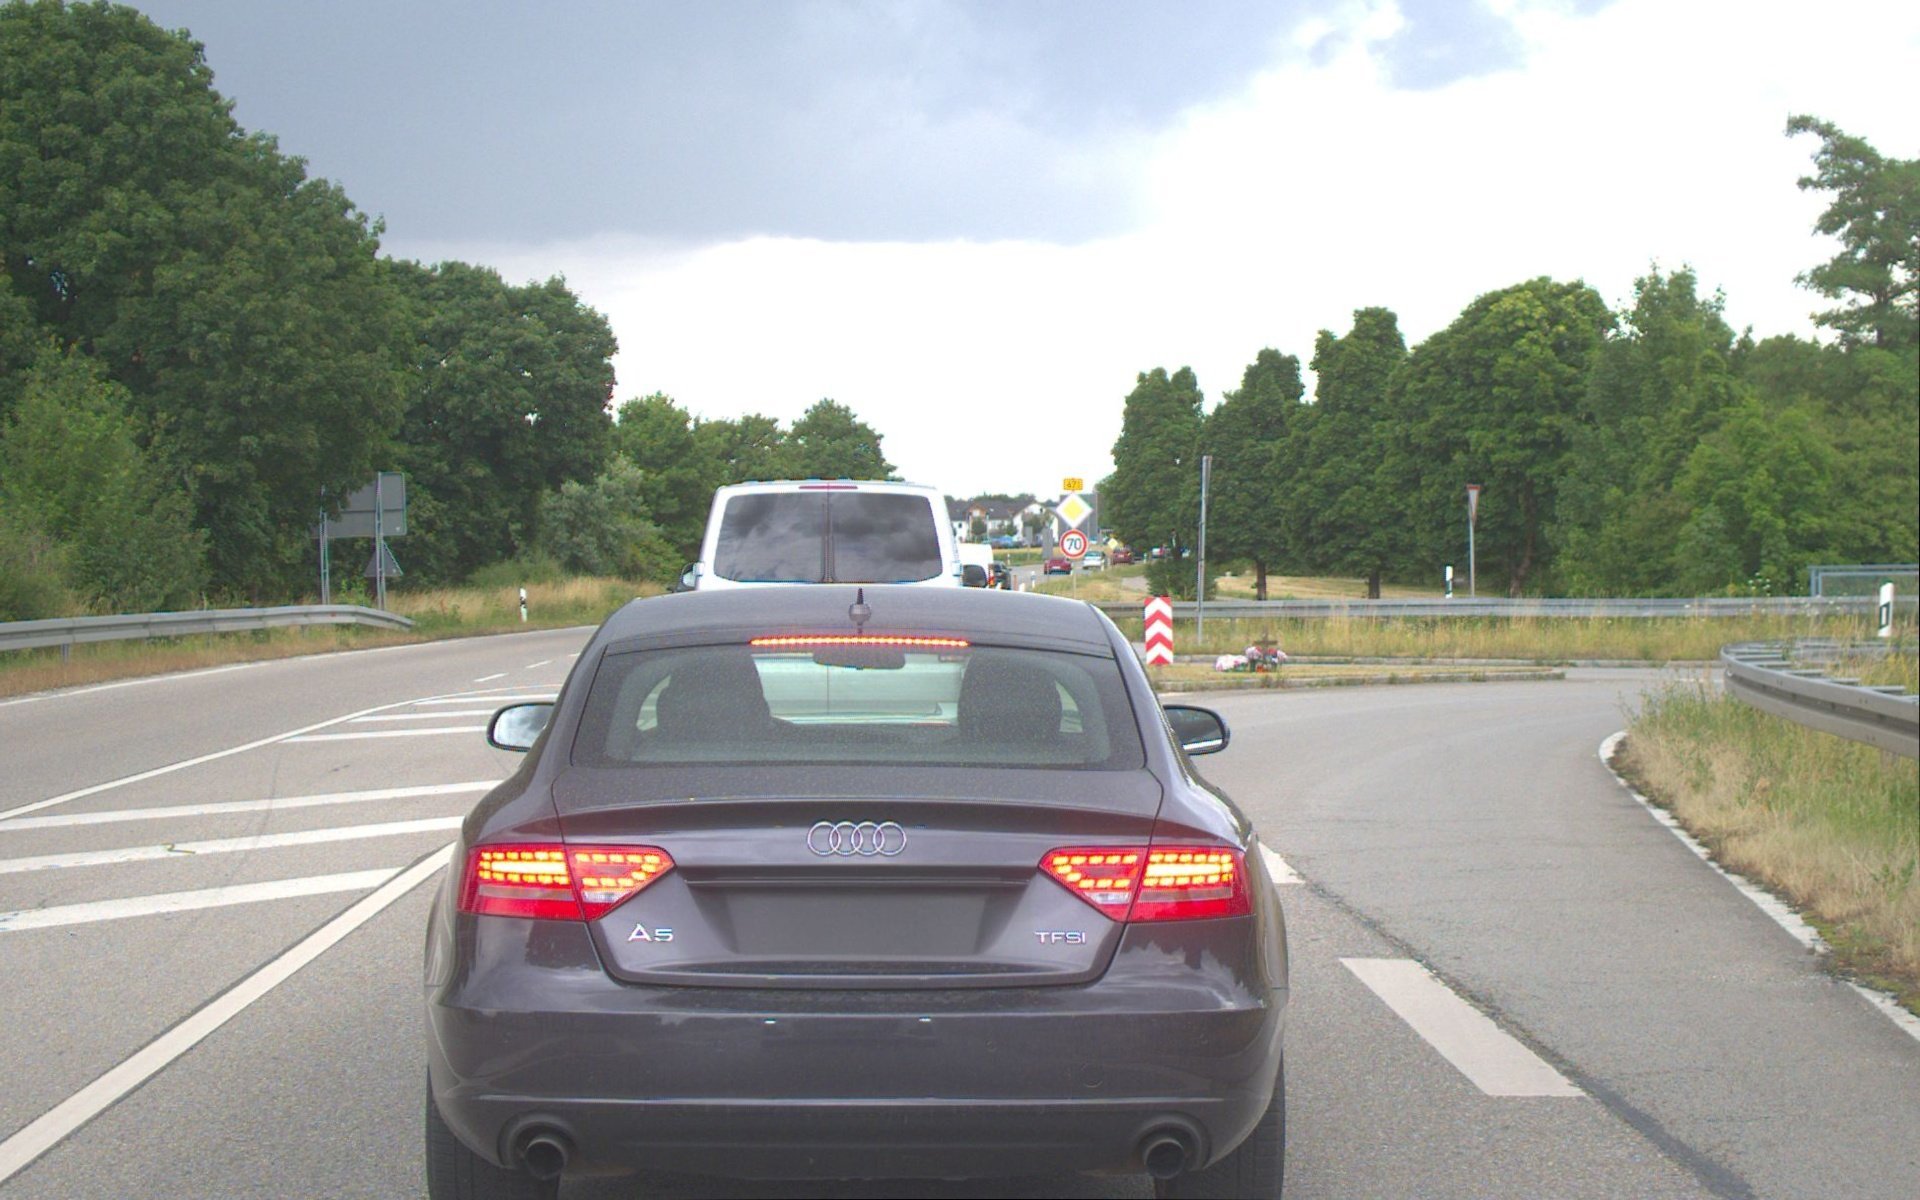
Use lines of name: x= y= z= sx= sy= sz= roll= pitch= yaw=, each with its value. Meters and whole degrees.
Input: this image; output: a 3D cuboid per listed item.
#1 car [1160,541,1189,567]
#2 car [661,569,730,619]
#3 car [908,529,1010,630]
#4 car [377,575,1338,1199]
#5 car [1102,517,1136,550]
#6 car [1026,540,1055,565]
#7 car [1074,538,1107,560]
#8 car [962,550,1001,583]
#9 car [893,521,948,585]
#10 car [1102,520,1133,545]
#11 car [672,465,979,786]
car: x=14.336 y=-3.075 z=229.753 sx=1.876 sy=1.686 sz=4.000 roll=1 pitch=1 yaw=5
car: x=-7.803 y=-0.185 z=101.610 sx=1.798 sy=1.393 sz=3.483 roll=1 pitch=1 yaw=0
car: x=-0.052 y=-0.471 z=73.949 sx=2.081 sy=2.057 sz=4.876 roll=1 pitch=1 yaw=-1
car: x=-0.241 y=0.656 z=8.043 sx=1.779 sy=1.394 sz=3.337 roll=0 pitch=1 yaw=-2
car: x=10.045 y=-4.223 z=217.646 sx=1.993 sy=2.007 sz=4.000 roll=1 pitch=1 yaw=1
car: x=5.589 y=-3.286 z=239.185 sx=1.993 sy=1.686 sz=4.000 roll=1 pitch=1 yaw=1
car: x=9.888 y=-3.874 z=261.054 sx=2.205 sy=1.577 sz=4.379 roll=1 pitch=1 yaw=-2
car: x=1.143 y=-1.792 z=182.716 sx=1.993 sy=1.686 sz=4.000 roll=1 pitch=1 yaw=1
car: x=-1.512 y=-1.829 z=133.121 sx=1.993 sy=2.400 sz=4.000 roll=2 pitch=1 yaw=0
car: x=10.837 y=-4.637 z=236.608 sx=1.993 sy=1.686 sz=4.000 roll=1 pitch=1 yaw=1
car: x=-0.904 y=0.113 z=23.668 sx=1.910 sy=2.007 sz=4.001 roll=1 pitch=1 yaw=-2
